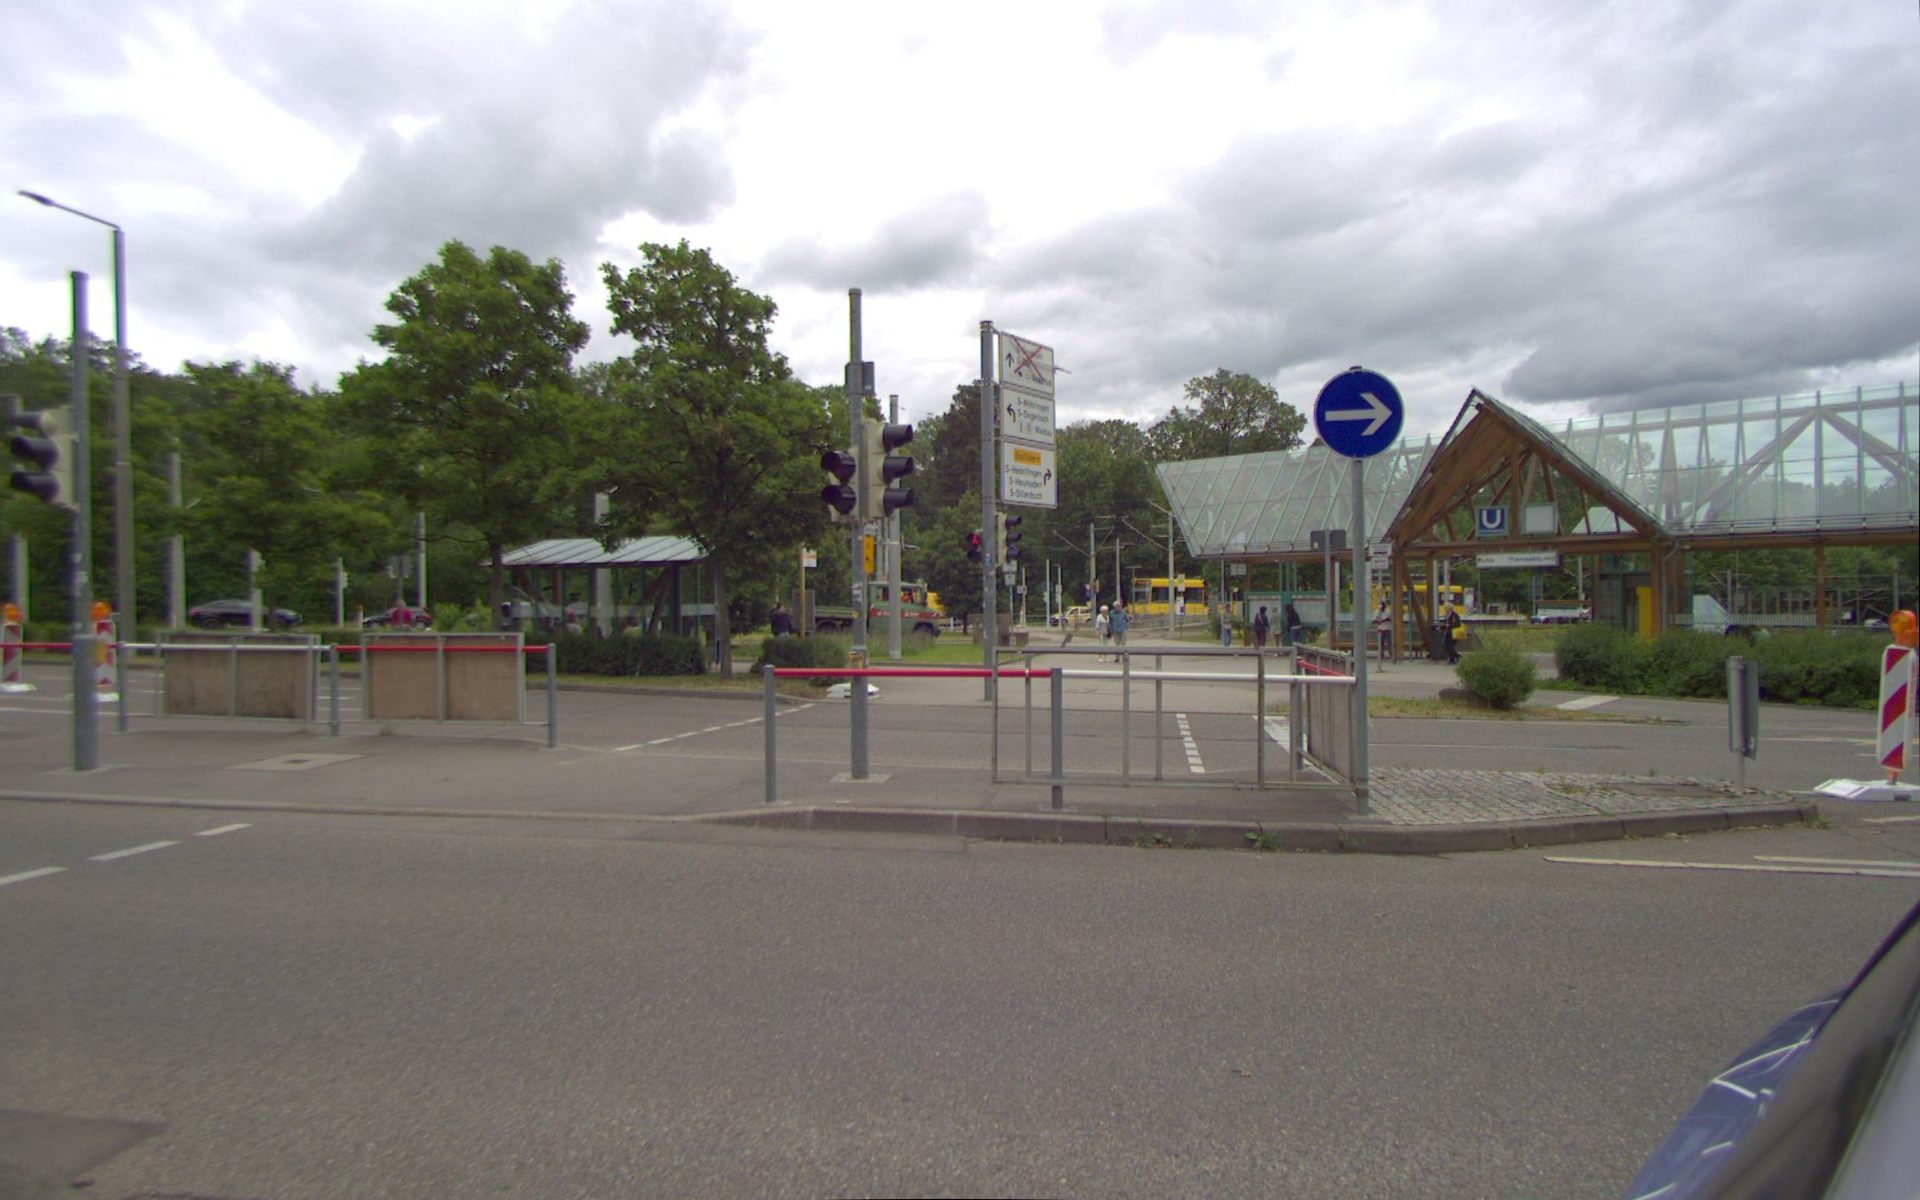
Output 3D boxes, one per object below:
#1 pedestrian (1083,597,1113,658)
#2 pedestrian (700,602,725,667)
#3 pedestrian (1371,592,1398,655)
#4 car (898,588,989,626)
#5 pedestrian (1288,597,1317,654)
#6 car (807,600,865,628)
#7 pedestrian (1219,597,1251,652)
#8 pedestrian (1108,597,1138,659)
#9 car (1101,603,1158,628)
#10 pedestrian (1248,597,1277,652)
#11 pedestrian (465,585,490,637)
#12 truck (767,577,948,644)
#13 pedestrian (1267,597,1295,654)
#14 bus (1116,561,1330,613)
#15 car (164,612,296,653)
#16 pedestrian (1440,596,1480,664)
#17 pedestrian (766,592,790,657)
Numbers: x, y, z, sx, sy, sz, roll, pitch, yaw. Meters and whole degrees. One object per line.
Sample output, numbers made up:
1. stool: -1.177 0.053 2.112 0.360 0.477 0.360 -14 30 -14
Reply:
1. pedestrian: 4.055 0.816 29.743 0.727 1.780 0.664 -1 -2 20
2. pedestrian: -5.945 0.836 24.309 0.470 1.536 0.522 -1 -2 2
3. pedestrian: 12.271 0.679 29.252 0.648 1.780 0.664 -1 -2 20
4. car: -1.117 0.502 70.093 6.022 2.526 2.002 0 -2 -27
5. pedestrian: 10.791 0.806 31.897 0.588 1.780 0.668 0 -2 -4
6. car: -9.380 1.084 76.734 3.918 2.040 2.002 0 -2 -27
7. pedestrian: 9.035 0.797 33.244 0.724 1.780 0.731 2 -3 -44
8. pedestrian: 4.775 0.821 29.602 0.727 1.780 0.664 -1 -2 19
9. car: 14.059 1.316 84.025 4.239 2.040 2.002 0 -2 -27
10. pedestrian: 9.774 0.789 32.675 0.654 1.780 0.563 0 -2 -17
11. pedestrian: -21.758 0.481 45.668 0.844 2.324 0.618 0 -2 -9
12. truck: -3.864 0.409 37.933 6.406 2.382 2.411 0 -2 -16
13. pedestrian: 10.178 0.796 32.094 0.588 1.780 0.668 0 -2 -4
14. bus: 20.187 -0.846 76.498 18.206 3.529 3.981 0 -2 -31
15. car: -37.970 1.652 52.827 5.324 2.040 2.002 0 -2 -27
16. pedestrian: 13.283 0.799 26.894 0.643 1.780 0.668 1 -3 -35
17. pedestrian: -4.333 0.589 24.128 0.470 1.536 0.522 -1 -2 2
